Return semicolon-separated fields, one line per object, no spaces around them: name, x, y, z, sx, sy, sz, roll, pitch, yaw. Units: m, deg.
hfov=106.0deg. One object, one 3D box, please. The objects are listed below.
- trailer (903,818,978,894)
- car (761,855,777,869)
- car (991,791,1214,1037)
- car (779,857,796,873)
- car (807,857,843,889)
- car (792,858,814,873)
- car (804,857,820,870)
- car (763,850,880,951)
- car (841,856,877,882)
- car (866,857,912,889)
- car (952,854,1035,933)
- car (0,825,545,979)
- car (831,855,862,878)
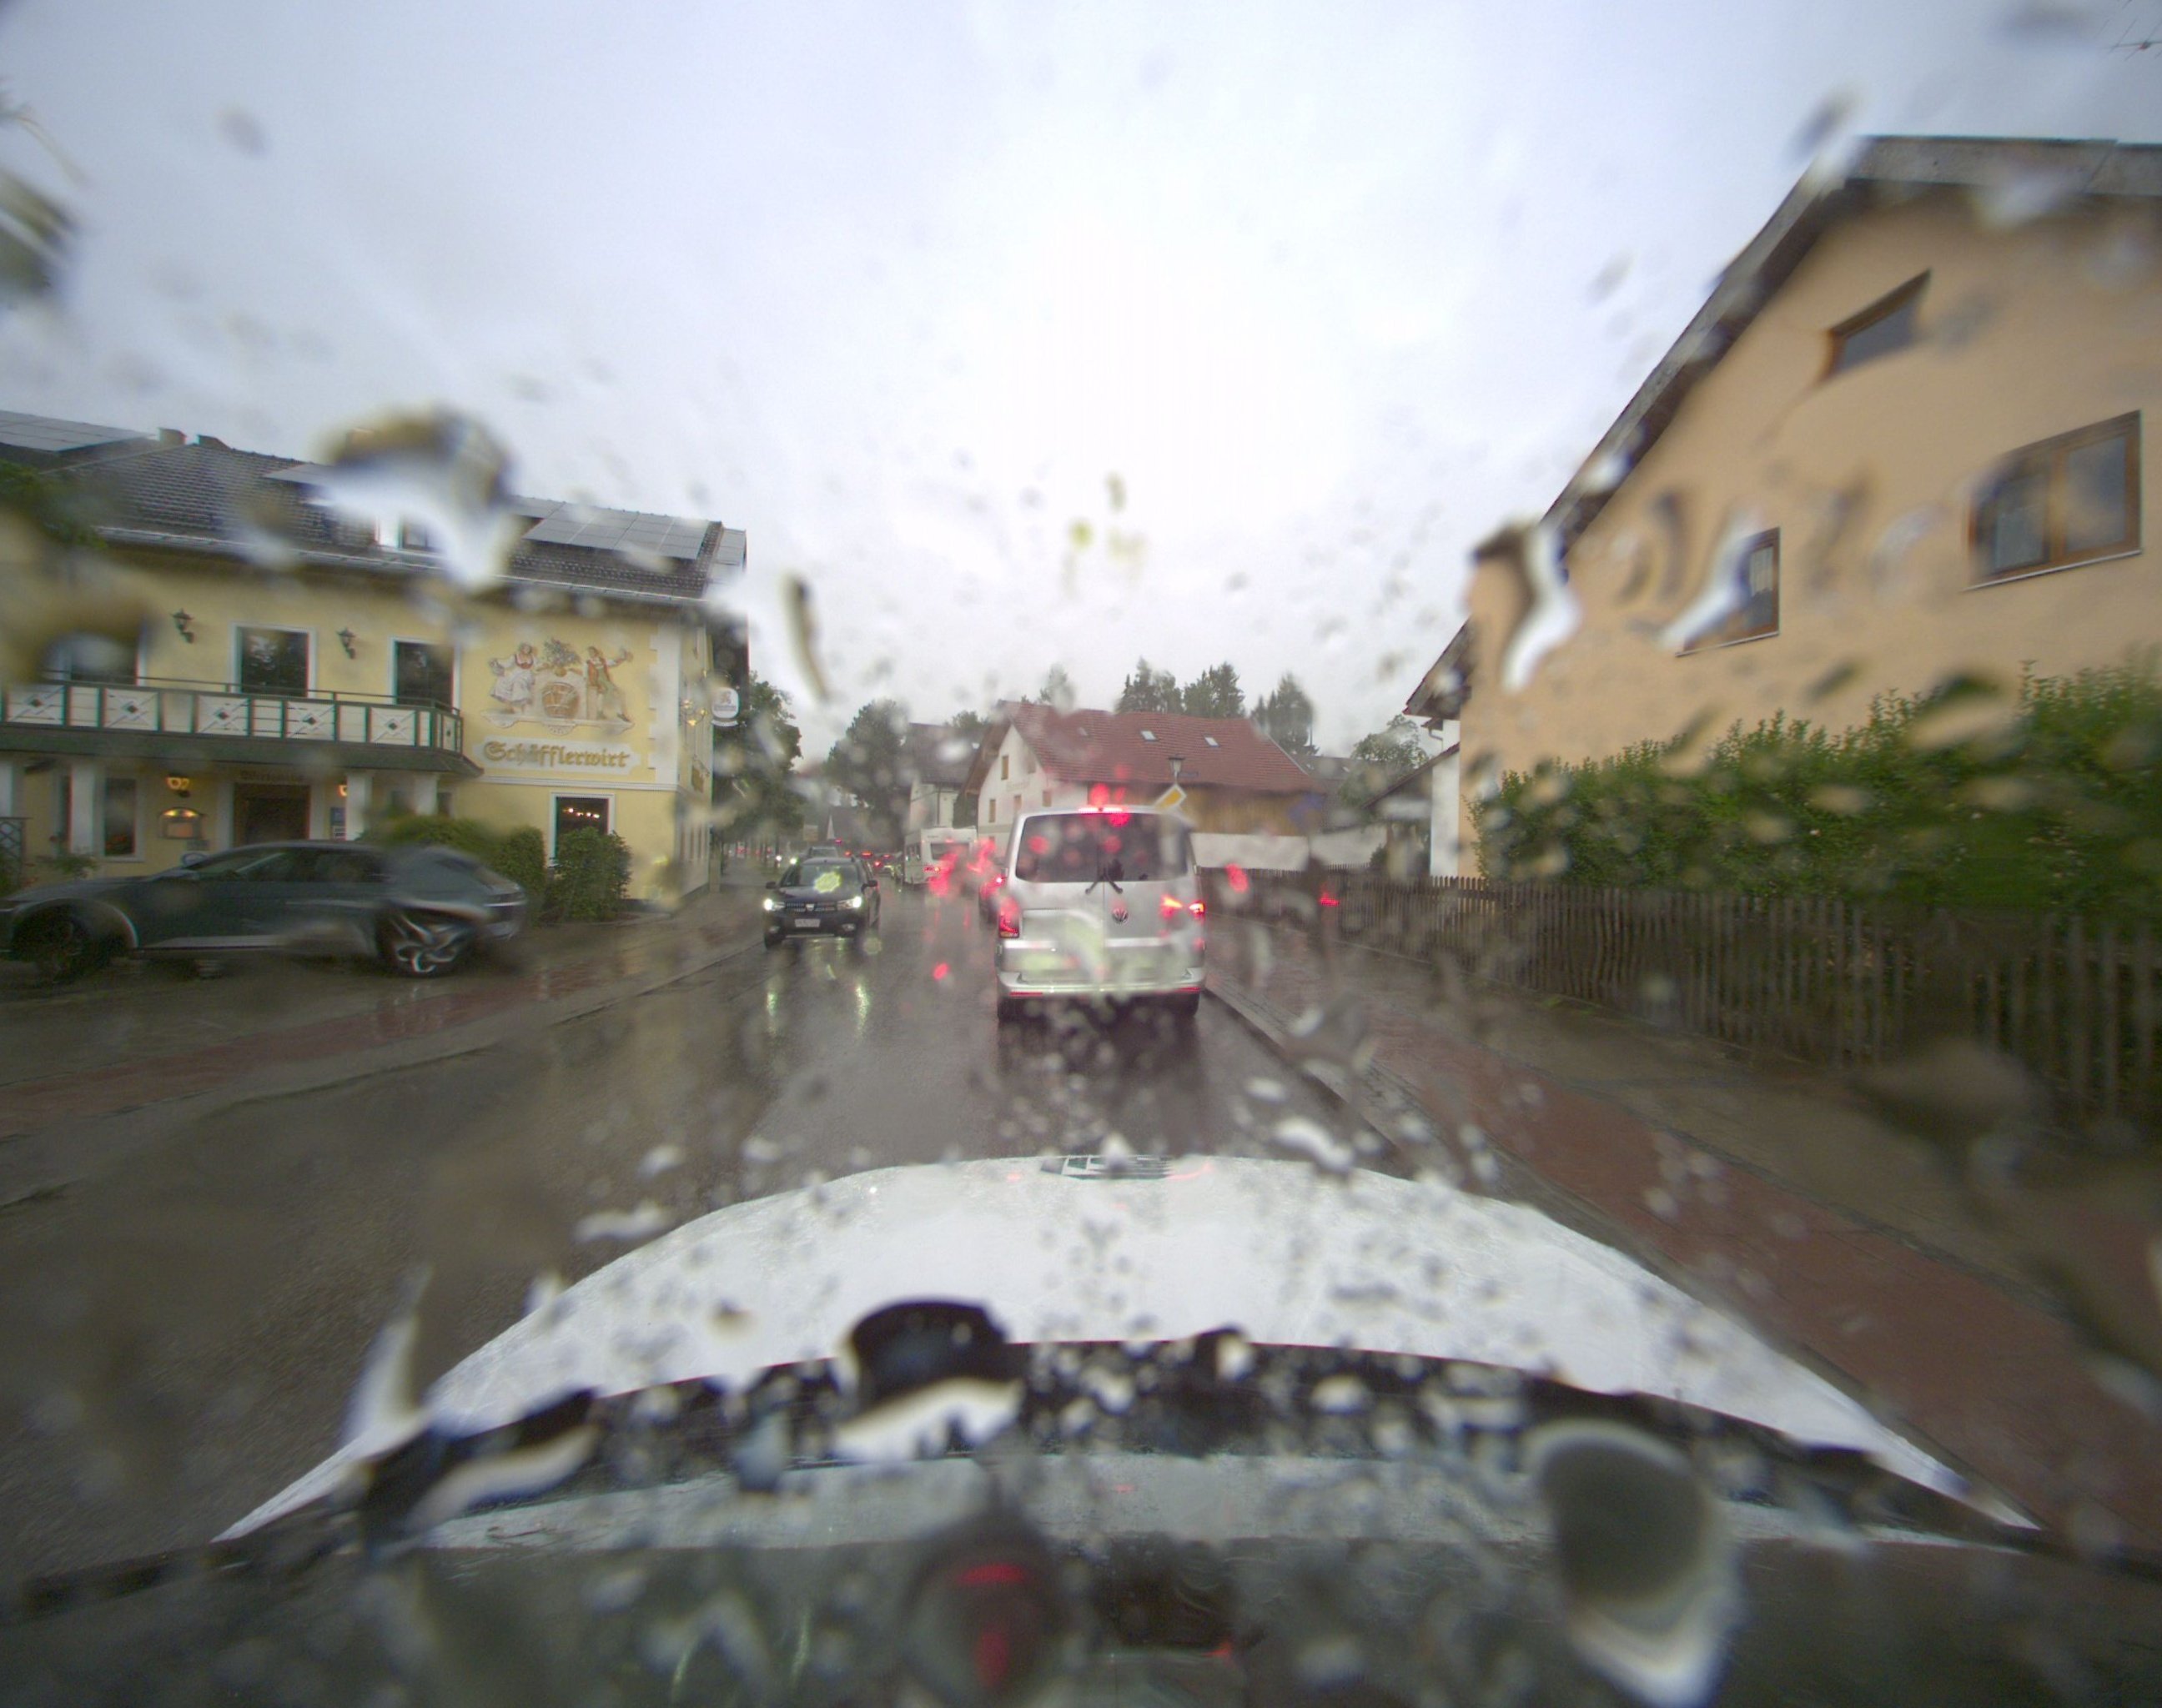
trailer;-6.085;0.091;34.637;2.277;2.904;6.094;0;0;-18
car;-43.277;1.121;113.081;1.869;1.758;4.453;-3;1;-20
car;0.261;0.495;9.095;1.770;1.963;5.076;-1;0;2
car;-34.868;1.276;96.768;1.869;1.758;4.453;-3;1;-20
car;-17.146;1.245;54.434;1.858;1.971;4.666;-1;-1;-22
car;-26.763;1.086;78.348;1.868;1.359;4.454;-1;1;-19
car;-43.336;1.532;131.332;2.177;1.899;4.979;1;0;-21
car;-4.660;0.773;15.049;1.587;1.610;3.526;-1;0;-10
car;-17.577;1.165;64.281;2.177;1.899;4.979;1;0;-21
car;-12.429;1.188;52.502;2.177;1.899;4.979;1;0;-21
car;-2.102;0.839;19.743;1.706;1.584;4.676;-2;1;-6
car;-9.517;0.590;10.057;4.495;1.567;1.825;4;1;-24
car;-20.761;1.065;71.944;2.177;1.899;4.979;1;0;-21
